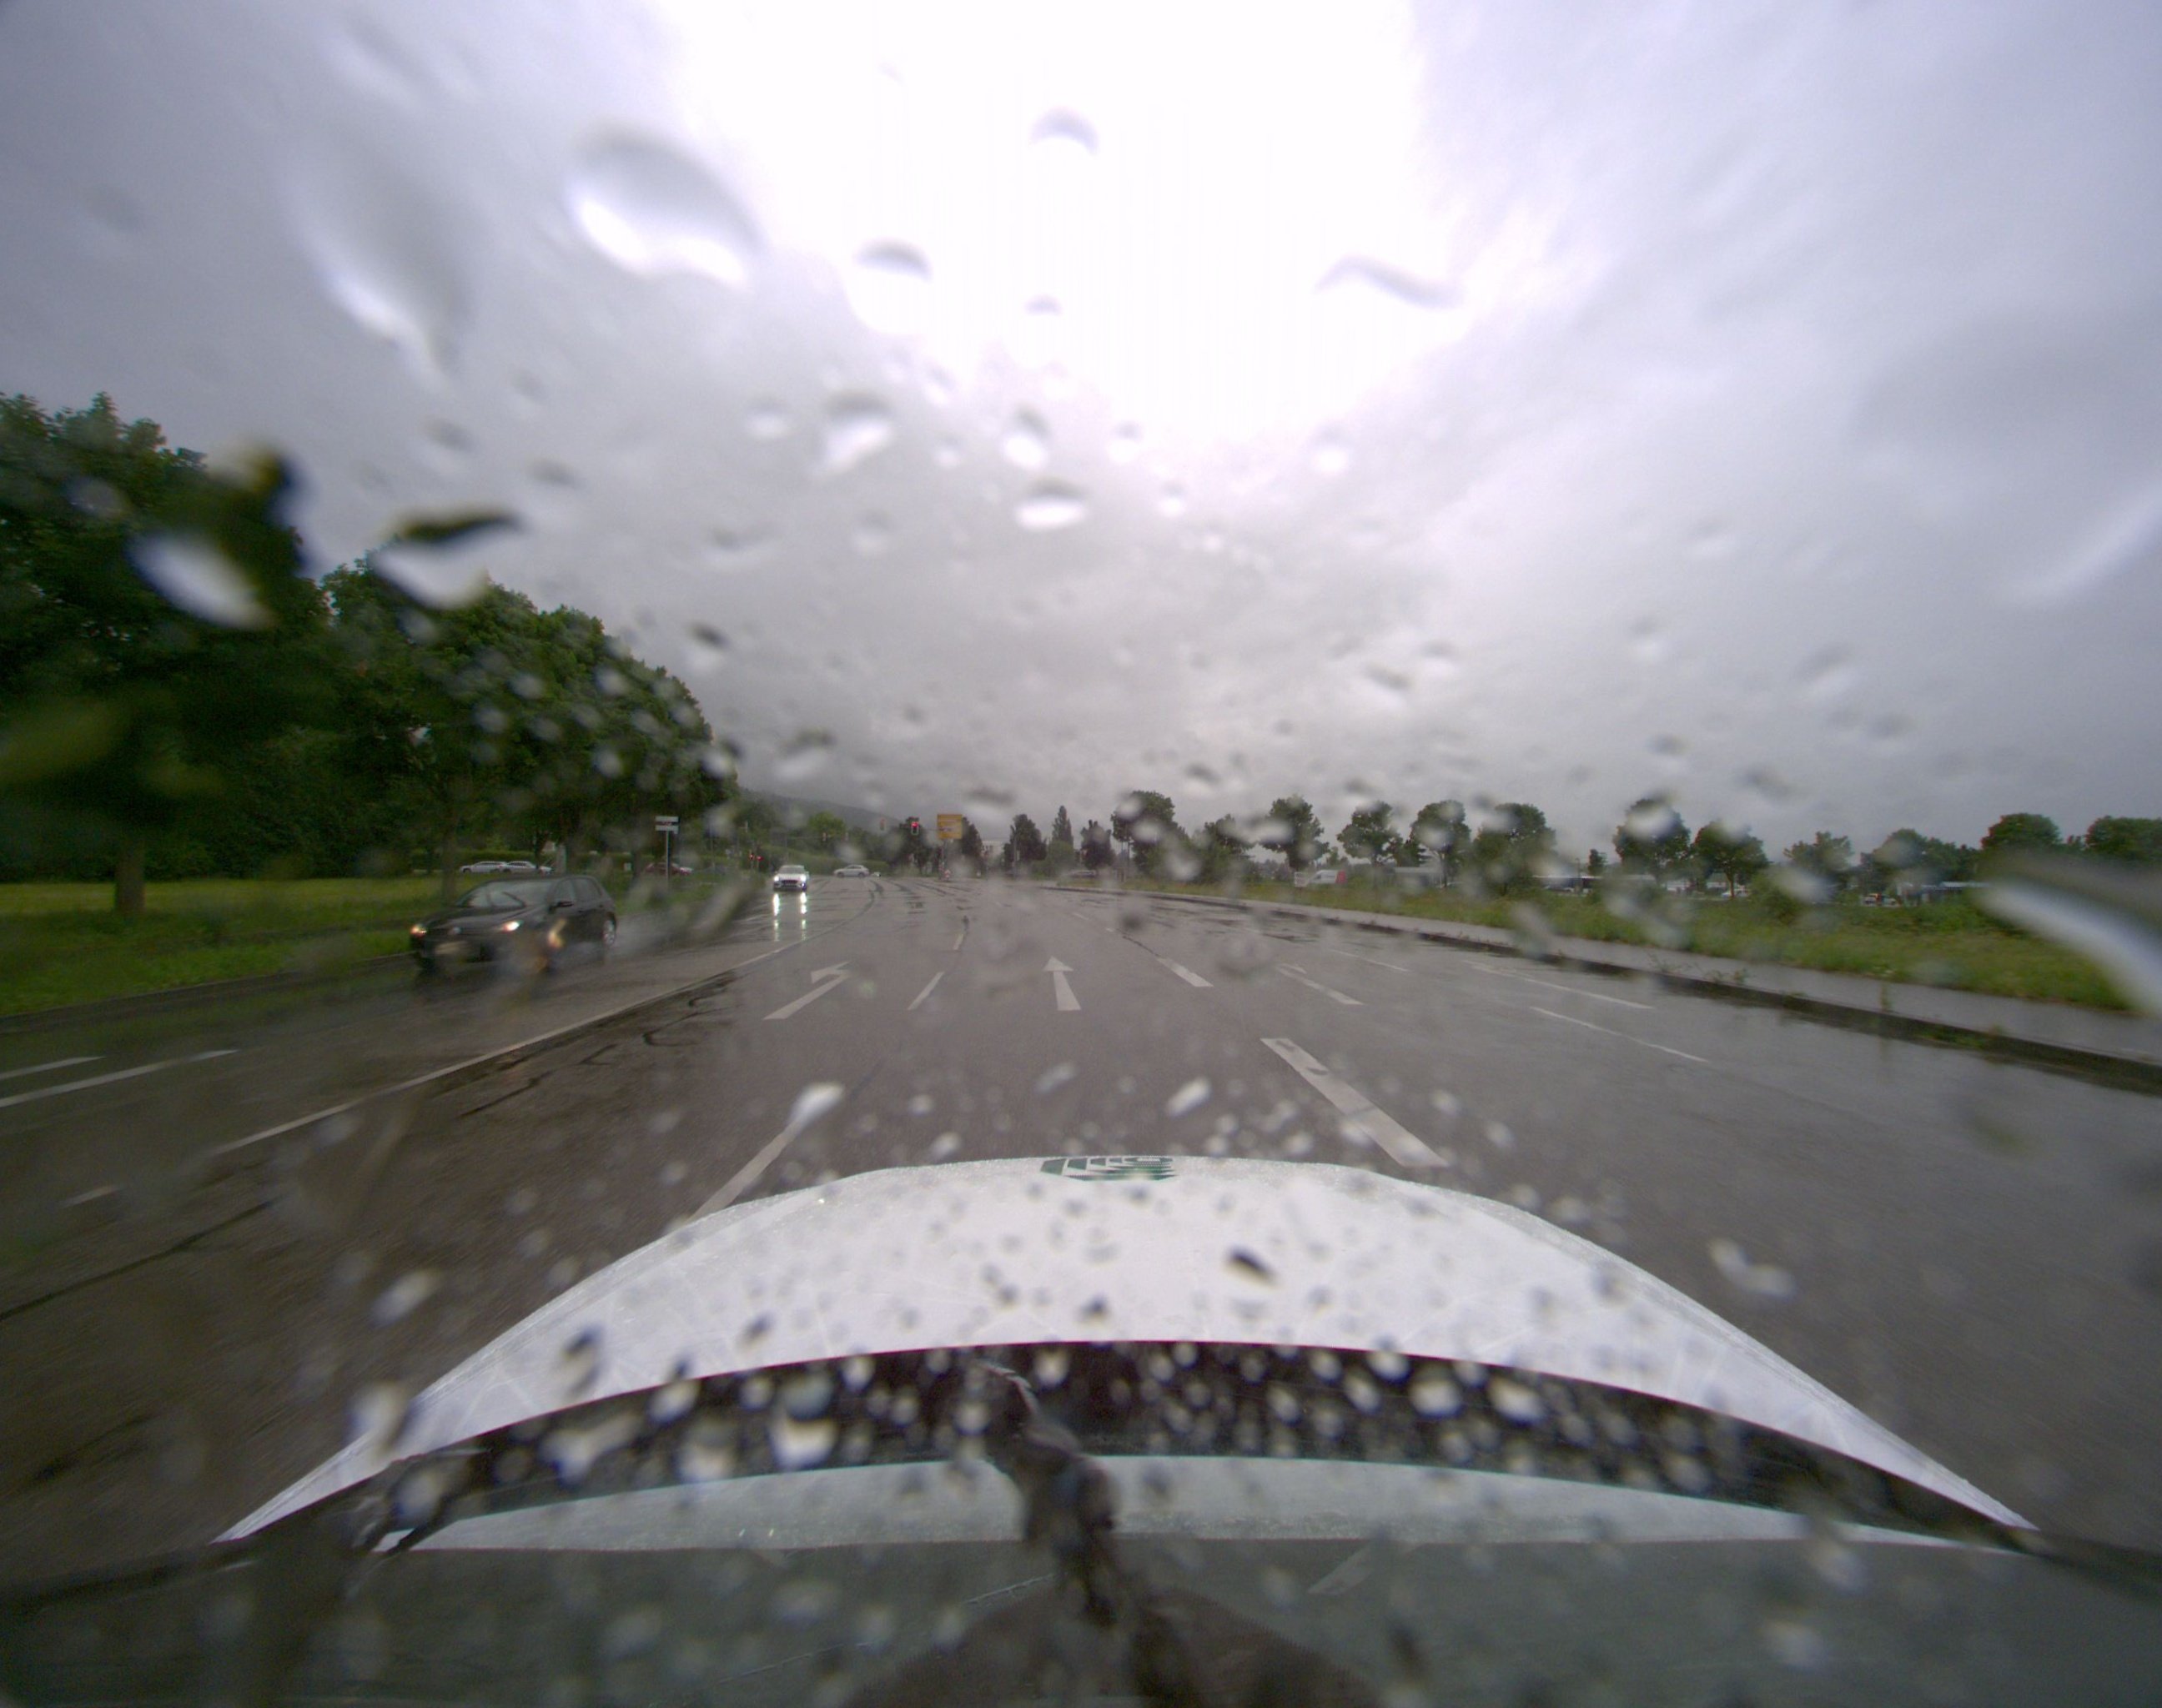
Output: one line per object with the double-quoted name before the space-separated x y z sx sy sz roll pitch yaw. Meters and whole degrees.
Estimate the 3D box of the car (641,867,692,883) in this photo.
"car" -43.375 2.204 85.264 4.374 1.580 1.727 1 -1 -9

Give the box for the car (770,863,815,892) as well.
"car" -17.030 1.378 48.188 1.880 1.573 4.625 -1 -1 -12

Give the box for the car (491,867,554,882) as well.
"car" -56.619 2.076 82.675 4.886 1.553 1.792 1 -1 -13

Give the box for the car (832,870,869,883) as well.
"car" -29.271 2.813 103.629 4.378 1.580 1.725 1 -1 -12

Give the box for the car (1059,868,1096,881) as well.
"car" -0.471 2.707 108.877 4.674 1.639 1.814 1 -1 -13

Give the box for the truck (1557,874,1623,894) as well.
"truck" 79.074 4.692 126.626 9.321 2.772 2.647 2 -1 -10

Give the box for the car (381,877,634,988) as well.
"car" -9.756 1.258 14.343 1.883 1.587 4.107 2 -1 -8
